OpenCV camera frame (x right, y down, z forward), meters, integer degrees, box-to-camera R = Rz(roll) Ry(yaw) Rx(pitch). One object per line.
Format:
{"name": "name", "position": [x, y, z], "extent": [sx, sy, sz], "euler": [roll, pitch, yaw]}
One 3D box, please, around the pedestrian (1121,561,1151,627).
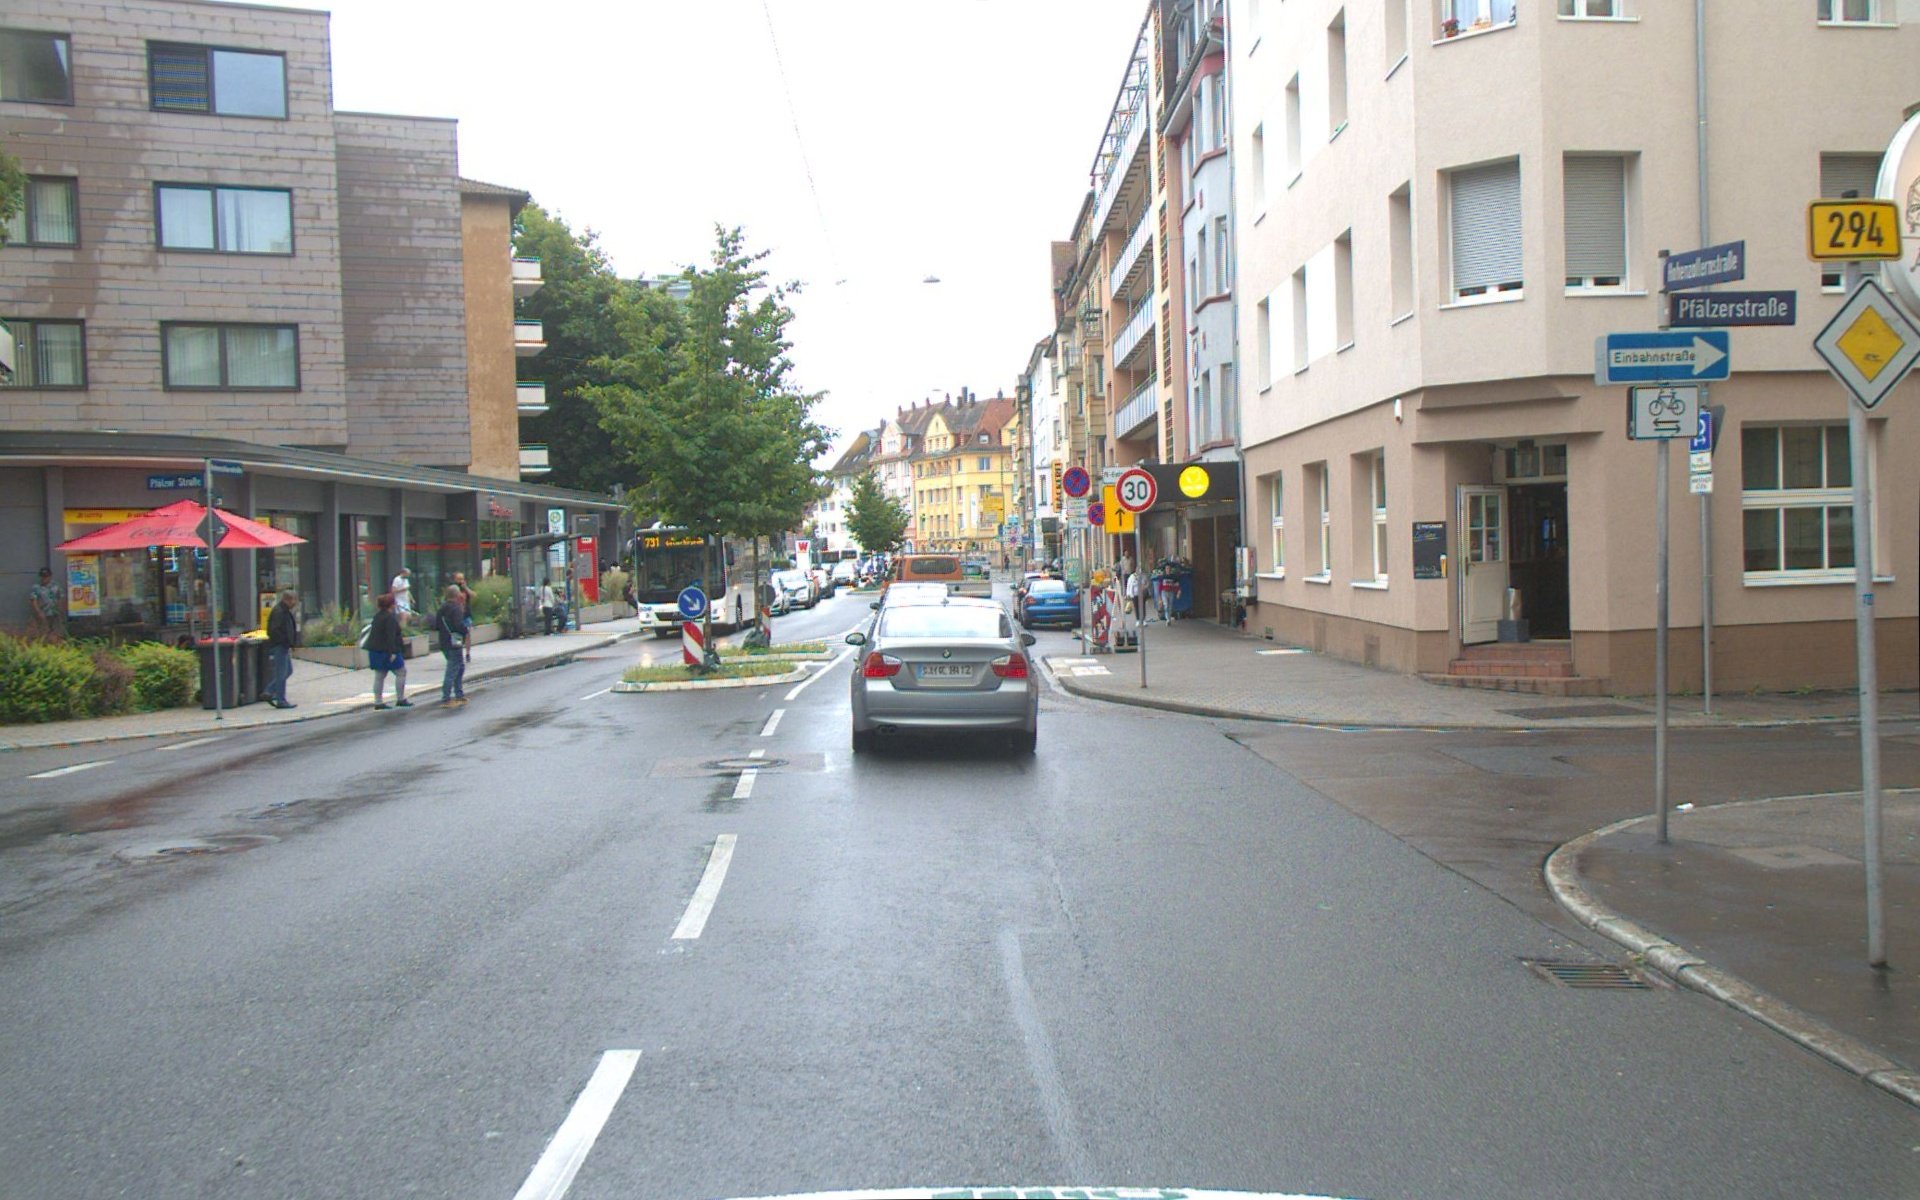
{"name": "pedestrian", "position": [4.542, -0.146, 42.660], "extent": [0.733, 1.690, 0.837], "euler": [1, -1, 6]}

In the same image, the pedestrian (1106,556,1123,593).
{"name": "pedestrian", "position": [6.140, -1.009, 65.700], "extent": [0.552, 1.446, 0.797], "euler": [1, -1, 13]}

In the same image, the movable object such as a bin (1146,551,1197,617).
{"name": "movable object such as a bin", "position": [5.740, -0.417, 44.978], "extent": [1.100, 1.732, 1.433], "euler": [-2, -1, -3]}

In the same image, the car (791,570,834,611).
{"name": "car", "position": [-7.736, -0.468, 87.247], "extent": [1.953, 2.049, 3.999], "euler": [1, -1, -1]}

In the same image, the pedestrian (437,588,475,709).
{"name": "pedestrian", "position": [-7.350, 0.705, 24.117], "extent": [0.458, 1.739, 0.541], "euler": [2, -1, -21]}

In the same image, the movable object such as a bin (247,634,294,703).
{"name": "movable object such as a bin", "position": [-11.239, 1.110, 26.966], "extent": [0.480, 1.100, 0.606], "euler": [-2, -1, 0]}

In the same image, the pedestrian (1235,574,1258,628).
{"name": "pedestrian", "position": [6.631, 0.017, 38.247], "extent": [0.404, 1.223, 0.357], "euler": [-4, 1, 2]}

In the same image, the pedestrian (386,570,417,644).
{"name": "pedestrian", "position": [-13.254, 0.156, 39.288], "extent": [0.647, 1.735, 0.658], "euler": [-1, 0, -18]}

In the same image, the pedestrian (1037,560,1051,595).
{"name": "pedestrian", "position": [3.475, -0.922, 68.229], "extent": [0.511, 1.446, 0.430], "euler": [1, -1, 9]}

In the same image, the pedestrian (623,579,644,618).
{"name": "pedestrian", "position": [-12.012, -0.047, 60.895], "extent": [0.607, 1.402, 0.544], "euler": [1, -1, 1]}

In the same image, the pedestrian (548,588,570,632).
{"name": "pedestrian", "position": [-11.400, 0.287, 47.008], "extent": [0.455, 1.252, 0.544], "euler": [1, -1, 1]}

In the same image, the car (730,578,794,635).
{"name": "car", "position": [-7.457, 0.257, 62.522], "extent": [1.953, 2.049, 3.999], "euler": [2, -1, -1]}

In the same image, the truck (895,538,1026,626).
{"name": "truck", "position": [-0.061, -0.463, 44.327], "extent": [2.181, 2.153, 4.629], "euler": [2, 0, -18]}

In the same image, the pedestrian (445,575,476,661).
{"name": "pedestrian", "position": [-10.712, 0.379, 35.480], "extent": [0.533, 1.821, 0.465], "euler": [1, -1, -9]}

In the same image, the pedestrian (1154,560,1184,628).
{"name": "pedestrian", "position": [5.314, -0.148, 42.096], "extent": [0.734, 1.690, 0.755], "euler": [1, -1, 6]}

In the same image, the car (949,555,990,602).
{"name": "car", "position": [0.415, -0.987, 77.067], "extent": [1.671, 2.049, 3.998], "euler": [1, -1, -3]}

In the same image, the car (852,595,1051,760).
{"name": "car", "position": [-0.078, 0.662, 15.870], "extent": [1.720, 1.386, 3.165], "euler": [0, 1, 0]}

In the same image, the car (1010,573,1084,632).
{"name": "car", "position": [2.388, 0.091, 46.185], "extent": [1.772, 1.545, 3.999], "euler": [1, -1, -1]}

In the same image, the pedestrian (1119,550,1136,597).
{"name": "pedestrian", "position": [6.142, -0.979, 60.585], "extent": [0.602, 1.690, 0.755], "euler": [1, -1, 6]}

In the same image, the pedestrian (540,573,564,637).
{"name": "pedestrian", "position": [-11.147, 0.133, 45.229], "extent": [0.532, 1.739, 0.465], "euler": [1, -1, -7]}

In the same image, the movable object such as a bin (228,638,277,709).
{"name": "movable object such as a bin", "position": [-11.250, 1.160, 26.318], "extent": [0.480, 1.100, 0.606], "euler": [-2, -1, 0]}

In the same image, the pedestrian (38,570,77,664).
{"name": "pedestrian", "position": [-18.086, 0.338, 33.141], "extent": [0.627, 1.847, 0.631], "euler": [-2, 1, -31]}

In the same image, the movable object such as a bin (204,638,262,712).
{"name": "movable object such as a bin", "position": [-11.266, 1.151, 25.637], "extent": [0.542, 1.100, 0.731], "euler": [-2, -1, 0]}

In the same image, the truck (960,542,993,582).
{"name": "truck", "position": [1.148, -2.671, 117.684], "extent": [2.172, 2.589, 4.778], "euler": [1, -1, -1]}

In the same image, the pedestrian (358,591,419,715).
{"name": "pedestrian", "position": [-8.368, 0.762, 24.219], "extent": [0.729, 1.738, 0.676], "euler": [-4, 1, -21]}

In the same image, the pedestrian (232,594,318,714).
{"name": "pedestrian", "position": [-10.361, 0.795, 25.039], "extent": [1.043, 1.761, 0.712], "euler": [-1, 1, -10]}

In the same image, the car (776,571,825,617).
{"name": "car", "position": [-7.462, -0.233, 77.578], "extent": [1.953, 2.049, 3.999], "euler": [1, -1, -1]}

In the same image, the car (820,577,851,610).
{"name": "car", "position": [-8.269, -0.424, 109.644], "extent": [1.954, 2.049, 3.996], "euler": [1, -1, -4]}

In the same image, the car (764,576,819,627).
{"name": "car", "position": [-6.961, 0.086, 68.642], "extent": [1.953, 2.049, 3.999], "euler": [-1, -1, -1]}

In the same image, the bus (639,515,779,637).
{"name": "bus", "position": [-7.468, -0.577, 50.859], "extent": [2.627, 3.257, 11.952], "euler": [1, -1, -1]}

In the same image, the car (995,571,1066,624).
{"name": "car", "position": [2.164, -0.042, 51.698], "extent": [1.953, 1.545, 3.999], "euler": [1, -1, -1]}

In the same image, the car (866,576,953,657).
{"name": "car", "position": [-0.990, 0.319, 31.896], "extent": [1.570, 1.445, 3.286], "euler": [1, -1, -3]}
